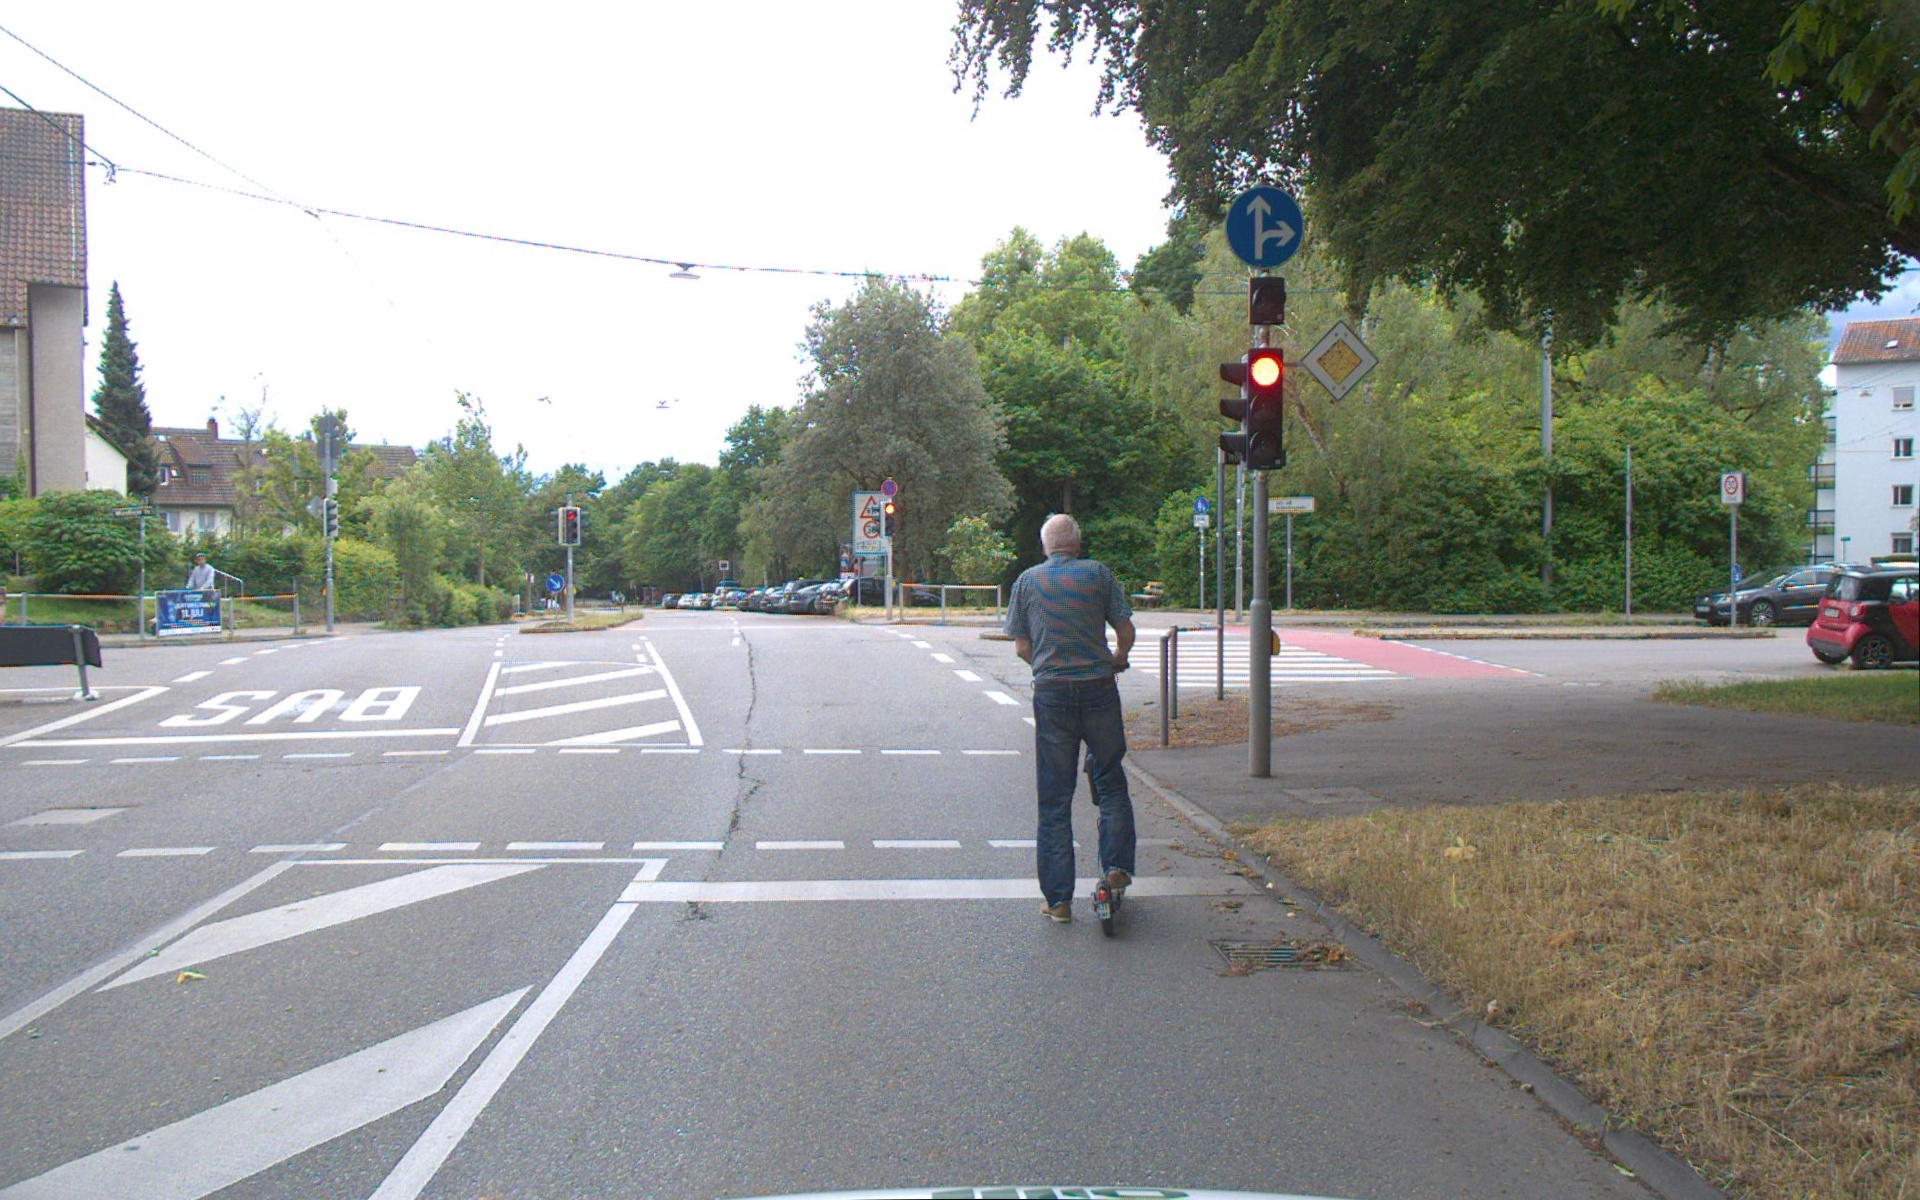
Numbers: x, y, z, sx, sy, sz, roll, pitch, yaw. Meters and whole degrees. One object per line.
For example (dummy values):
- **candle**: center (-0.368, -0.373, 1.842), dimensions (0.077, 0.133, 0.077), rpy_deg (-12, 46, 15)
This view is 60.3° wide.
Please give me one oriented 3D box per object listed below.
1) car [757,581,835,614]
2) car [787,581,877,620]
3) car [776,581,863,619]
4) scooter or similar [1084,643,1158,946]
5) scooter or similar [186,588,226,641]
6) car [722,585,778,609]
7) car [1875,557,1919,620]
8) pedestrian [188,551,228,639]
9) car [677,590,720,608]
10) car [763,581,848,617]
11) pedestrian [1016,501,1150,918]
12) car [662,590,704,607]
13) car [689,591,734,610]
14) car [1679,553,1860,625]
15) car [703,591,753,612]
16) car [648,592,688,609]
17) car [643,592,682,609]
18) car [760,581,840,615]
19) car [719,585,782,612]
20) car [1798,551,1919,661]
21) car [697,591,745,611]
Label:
- **car**: center (-8.808, -0.142, 88.922), dimensions (3.790, 1.639, 1.716), rpy_deg (-2, 1, -24)
- **car**: center (-5.935, 0.007, 76.663), dimensions (3.792, 1.639, 1.715), rpy_deg (-2, 1, -25)
- **car**: center (-6.729, -0.012, 79.193), dimensions (3.790, 1.639, 1.716), rpy_deg (-2, 1, -24)
- **scooter or similar**: center (0.730, 0.816, 7.389), dimensions (0.276, 1.199, 1.178), rpy_deg (-1, 1, 7)
- **scooter or similar**: center (-16.089, 0.291, 35.306), dimensions (0.566, 1.100, 1.107), rpy_deg (-1, 1, -15)
- **car**: center (-15.444, -0.223, 121.652), dimensions (3.790, 1.639, 1.716), rpy_deg (-2, 1, -24)
- **car**: center (26.401, -0.341, 45.815), dimensions (1.689, 1.639, 3.850), rpy_deg (-1, 1, 27)
- **pedestrian**: center (-16.445, -0.105, 36.187), dimensions (0.569, 1.895, 0.874), rpy_deg (-1, 1, -39)
- **car**: center (-25.059, -0.086, 158.385), dimensions (3.790, 1.639, 1.716), rpy_deg (-2, 1, -24)
- **car**: center (-7.580, -0.066, 81.215), dimensions (3.790, 1.639, 1.716), rpy_deg (-2, 1, -24)
- **pedestrian**: center (0.569, 0.485, 7.562), dimensions (0.560, 1.845, 0.421), rpy_deg (-1, 0, 7)
- **car**: center (-27.699, -0.164, 165.411), dimensions (3.790, 1.639, 1.716), rpy_deg (-2, 1, -24)
- **car**: center (-23.068, 0.014, 153.712), dimensions (3.790, 1.639, 1.716), rpy_deg (-2, 1, -24)
- **car**: center (19.150, -0.266, 39.234), dimensions (3.444, 1.557, 1.729), rpy_deg (-2, 1, 5)
- **car**: center (-19.465, 0.121, 138.787), dimensions (3.790, 1.639, 1.716), rpy_deg (-2, 1, -24)
- **car**: center (-30.932, 0.017, 175.155), dimensions (3.790, 1.639, 1.716), rpy_deg (-2, 1, -24)
- **car**: center (-31.941, 0.076, 177.477), dimensions (3.790, 1.639, 1.716), rpy_deg (-2, 1, -24)
- **car**: center (-8.369, -0.129, 86.517), dimensions (3.790, 1.639, 1.716), rpy_deg (-2, 1, -24)
- **car**: center (-13.787, -0.086, 108.709), dimensions (3.790, 1.639, 1.716), rpy_deg (-2, 1, -24)
- **car**: center (15.253, 0.044, 25.832), dimensions (3.444, 1.639, 1.729), rpy_deg (-2, 1, 4)
- **car**: center (-20.560, 0.089, 142.445), dimensions (3.790, 1.639, 1.716), rpy_deg (-2, 1, -24)
